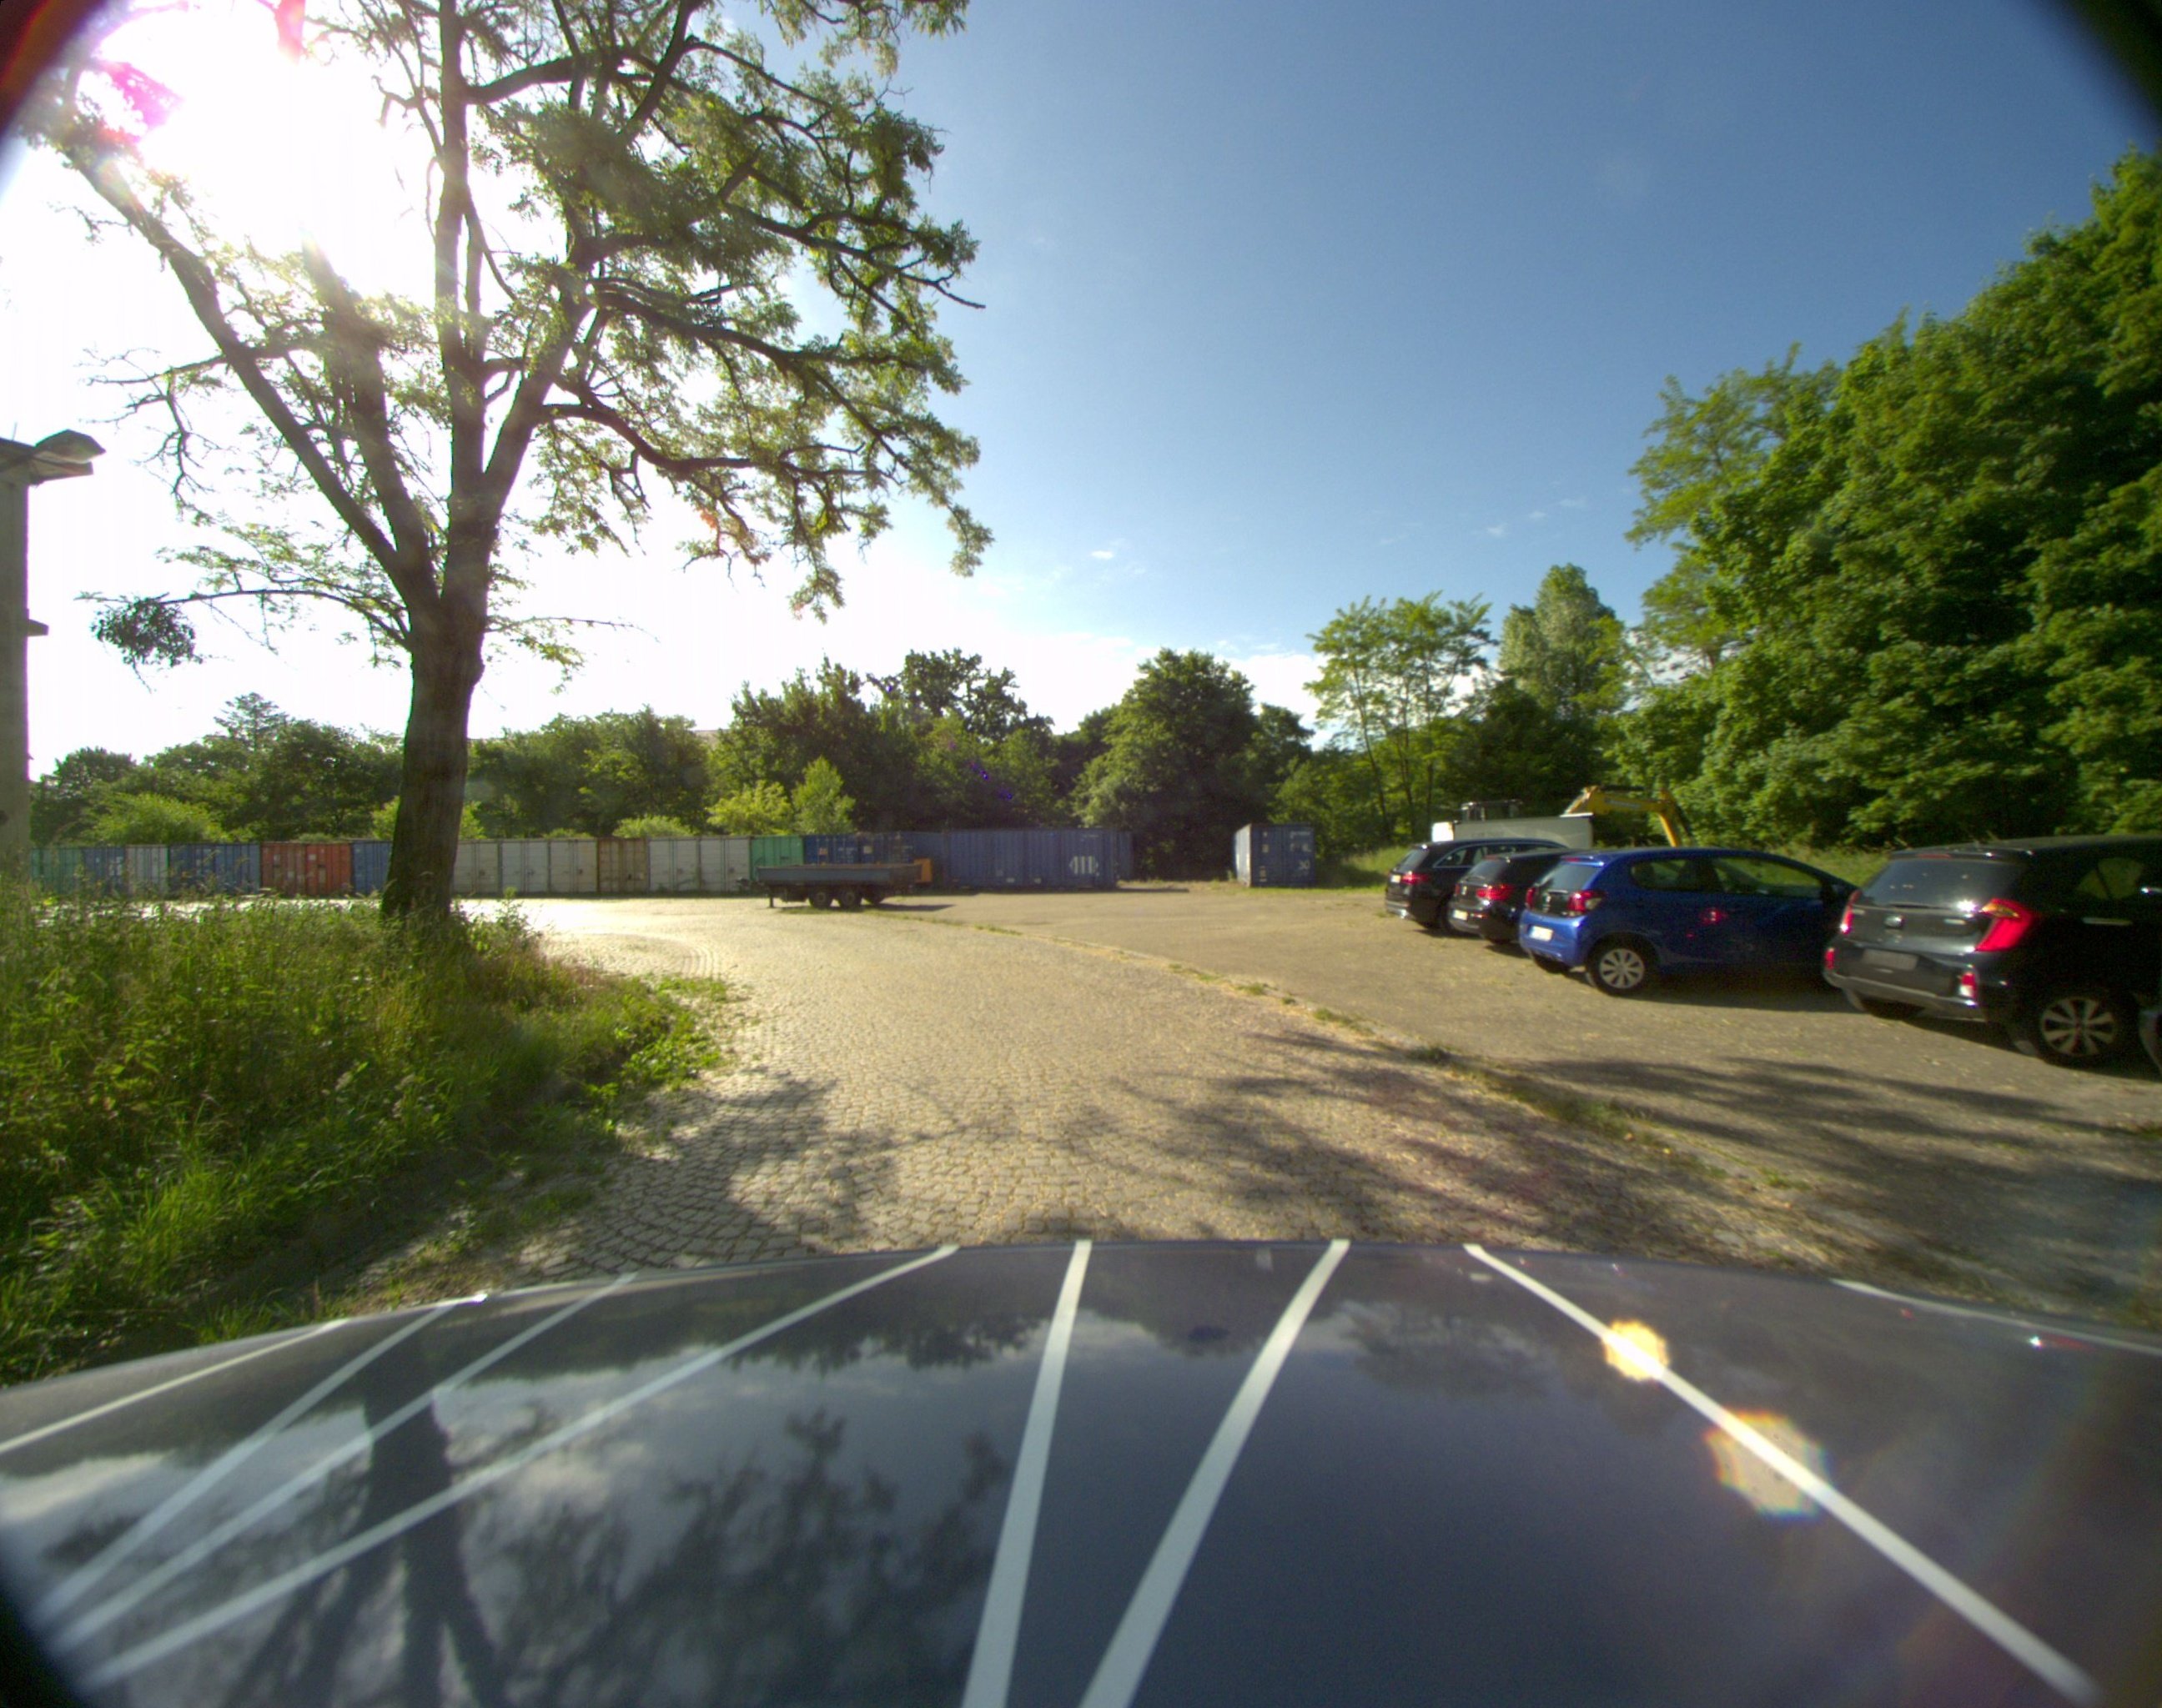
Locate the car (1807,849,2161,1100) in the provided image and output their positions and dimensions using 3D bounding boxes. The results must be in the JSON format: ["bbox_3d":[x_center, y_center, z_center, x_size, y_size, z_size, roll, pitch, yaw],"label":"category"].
[{"bbox_3d":[7.656,0.719,5.179,3.545,1.507,1.680,-1,0,14],"label":"car"}]

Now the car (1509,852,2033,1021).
[{"bbox_3d":[6.749,0.753,7.879,3.657,1.484,1.716,-1,0,11],"label":"car"}]

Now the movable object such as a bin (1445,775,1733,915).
[{"bbox_3d":[11.452,-0.154,17.558,5.155,2.948,2.002,-1,0,13],"label":"movable object such as a bin"}]

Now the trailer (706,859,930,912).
[{"bbox_3d":[-8.698,1.024,25.545,6.483,1.509,2.857,-1,1,8],"label":"trailer"}]

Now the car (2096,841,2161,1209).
[{"bbox_3d":[6.789,0.688,2.425,4.185,1.646,1.819,-2,0,8],"label":"car"}]

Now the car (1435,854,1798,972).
[{"bbox_3d":[7.125,0.749,10.503,3.658,1.442,1.835,-1,0,9],"label":"car"}]

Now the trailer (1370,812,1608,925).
[{"bbox_3d":[8.282,0.315,15.760,3.967,2.081,1.640,-2,0,9],"label":"trailer"}]

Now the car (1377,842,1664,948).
[{"bbox_3d":[7.254,0.668,12.953,3.814,1.631,1.870,-1,0,11],"label":"car"}]
